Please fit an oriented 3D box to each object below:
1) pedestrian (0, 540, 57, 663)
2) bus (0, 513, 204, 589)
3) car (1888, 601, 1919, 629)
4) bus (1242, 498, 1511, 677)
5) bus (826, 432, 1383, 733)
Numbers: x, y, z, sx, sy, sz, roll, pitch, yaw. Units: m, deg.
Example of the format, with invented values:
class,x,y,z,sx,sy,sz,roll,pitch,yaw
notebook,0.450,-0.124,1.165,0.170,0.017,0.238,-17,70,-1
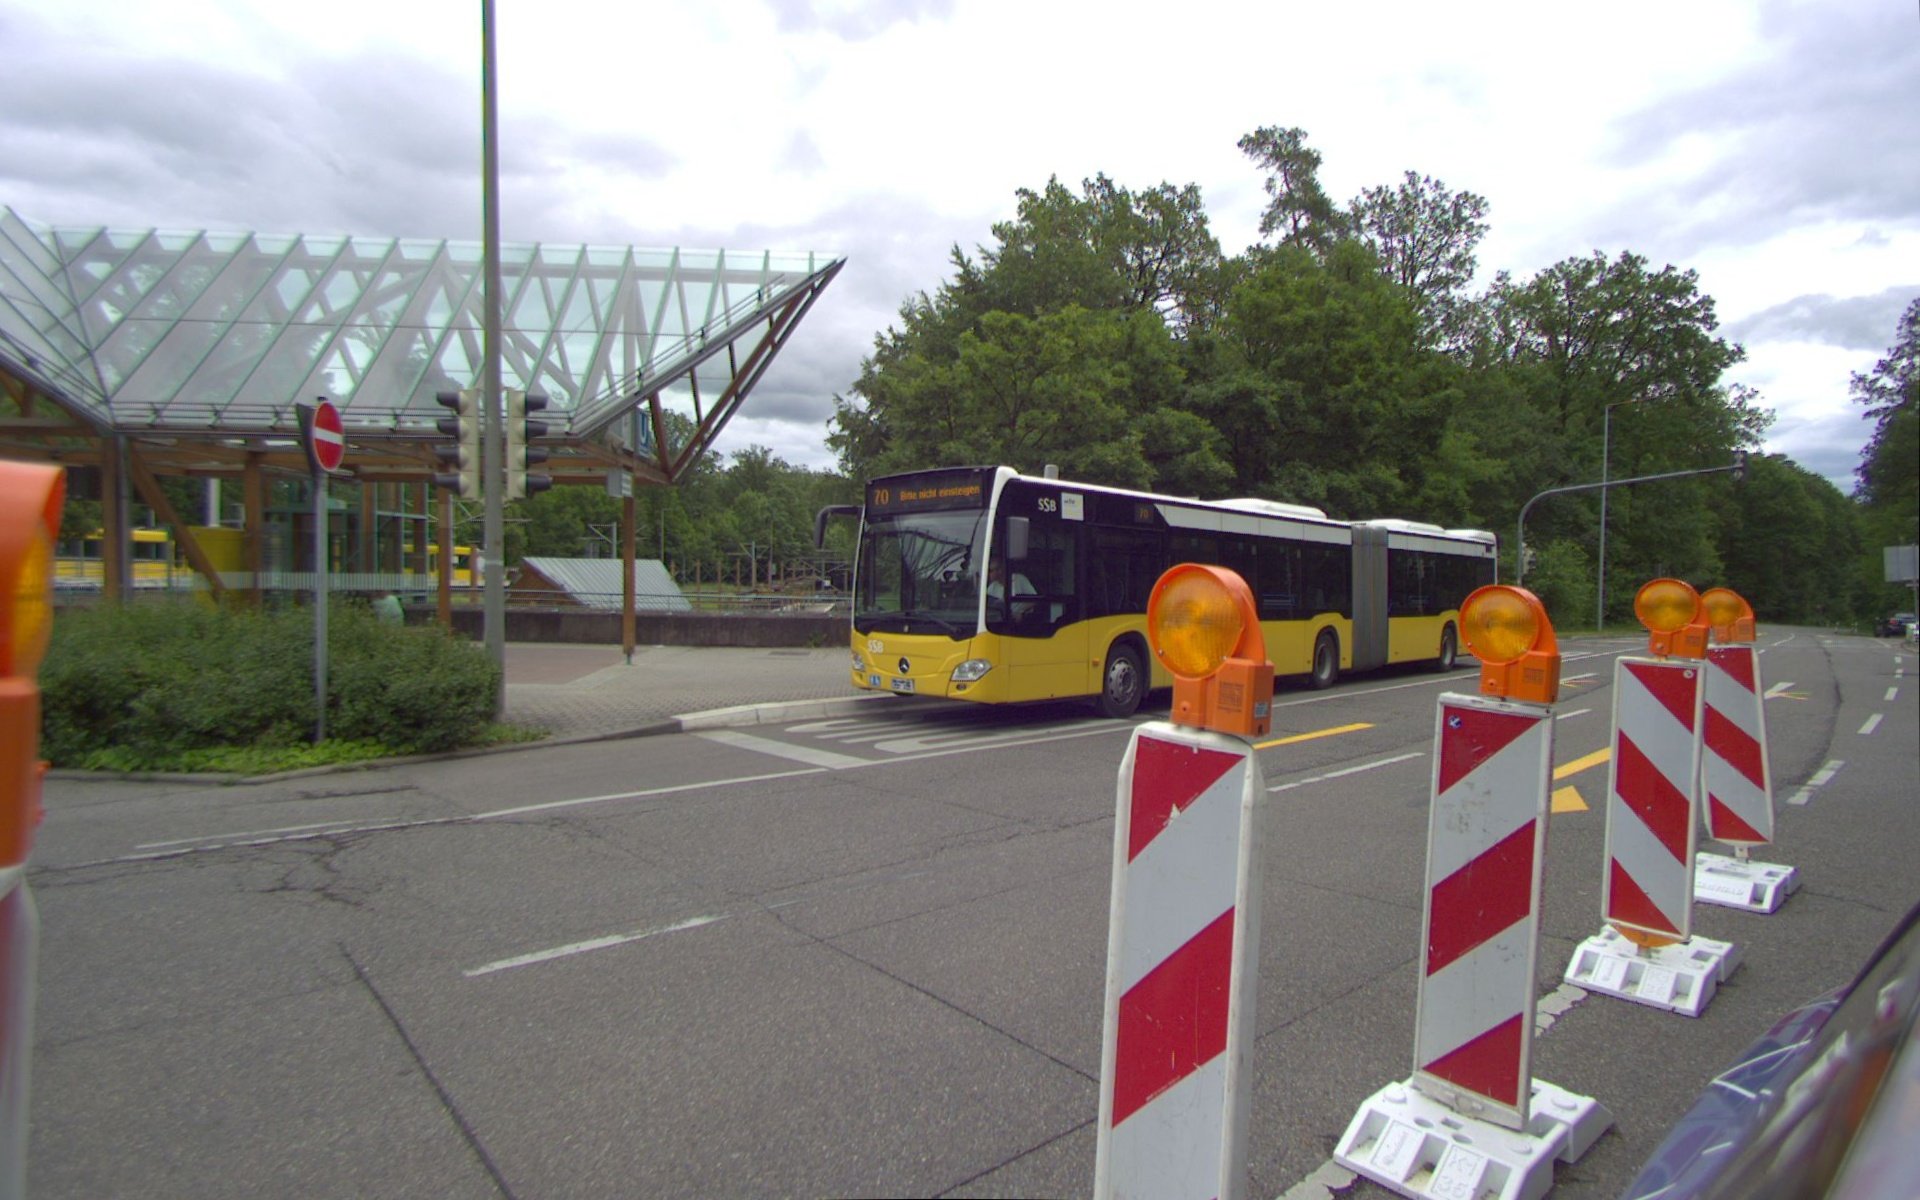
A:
class,x,y,z,sx,sy,sz,roll,pitch,yaw
pedestrian,-14.013,0.019,15.006,0.657,1.779,0.654,-1,0,9
bus,-46.790,-2.317,48.783,3.919,3.527,18.505,0,1,13
car,49.508,0.762,52.584,1.744,1.347,3.942,0,1,41
bus,9.229,-0.259,21.860,2.803,3.199,7.634,1,1,44
bus,2.939,-0.224,15.425,2.804,3.199,10.348,1,1,45
